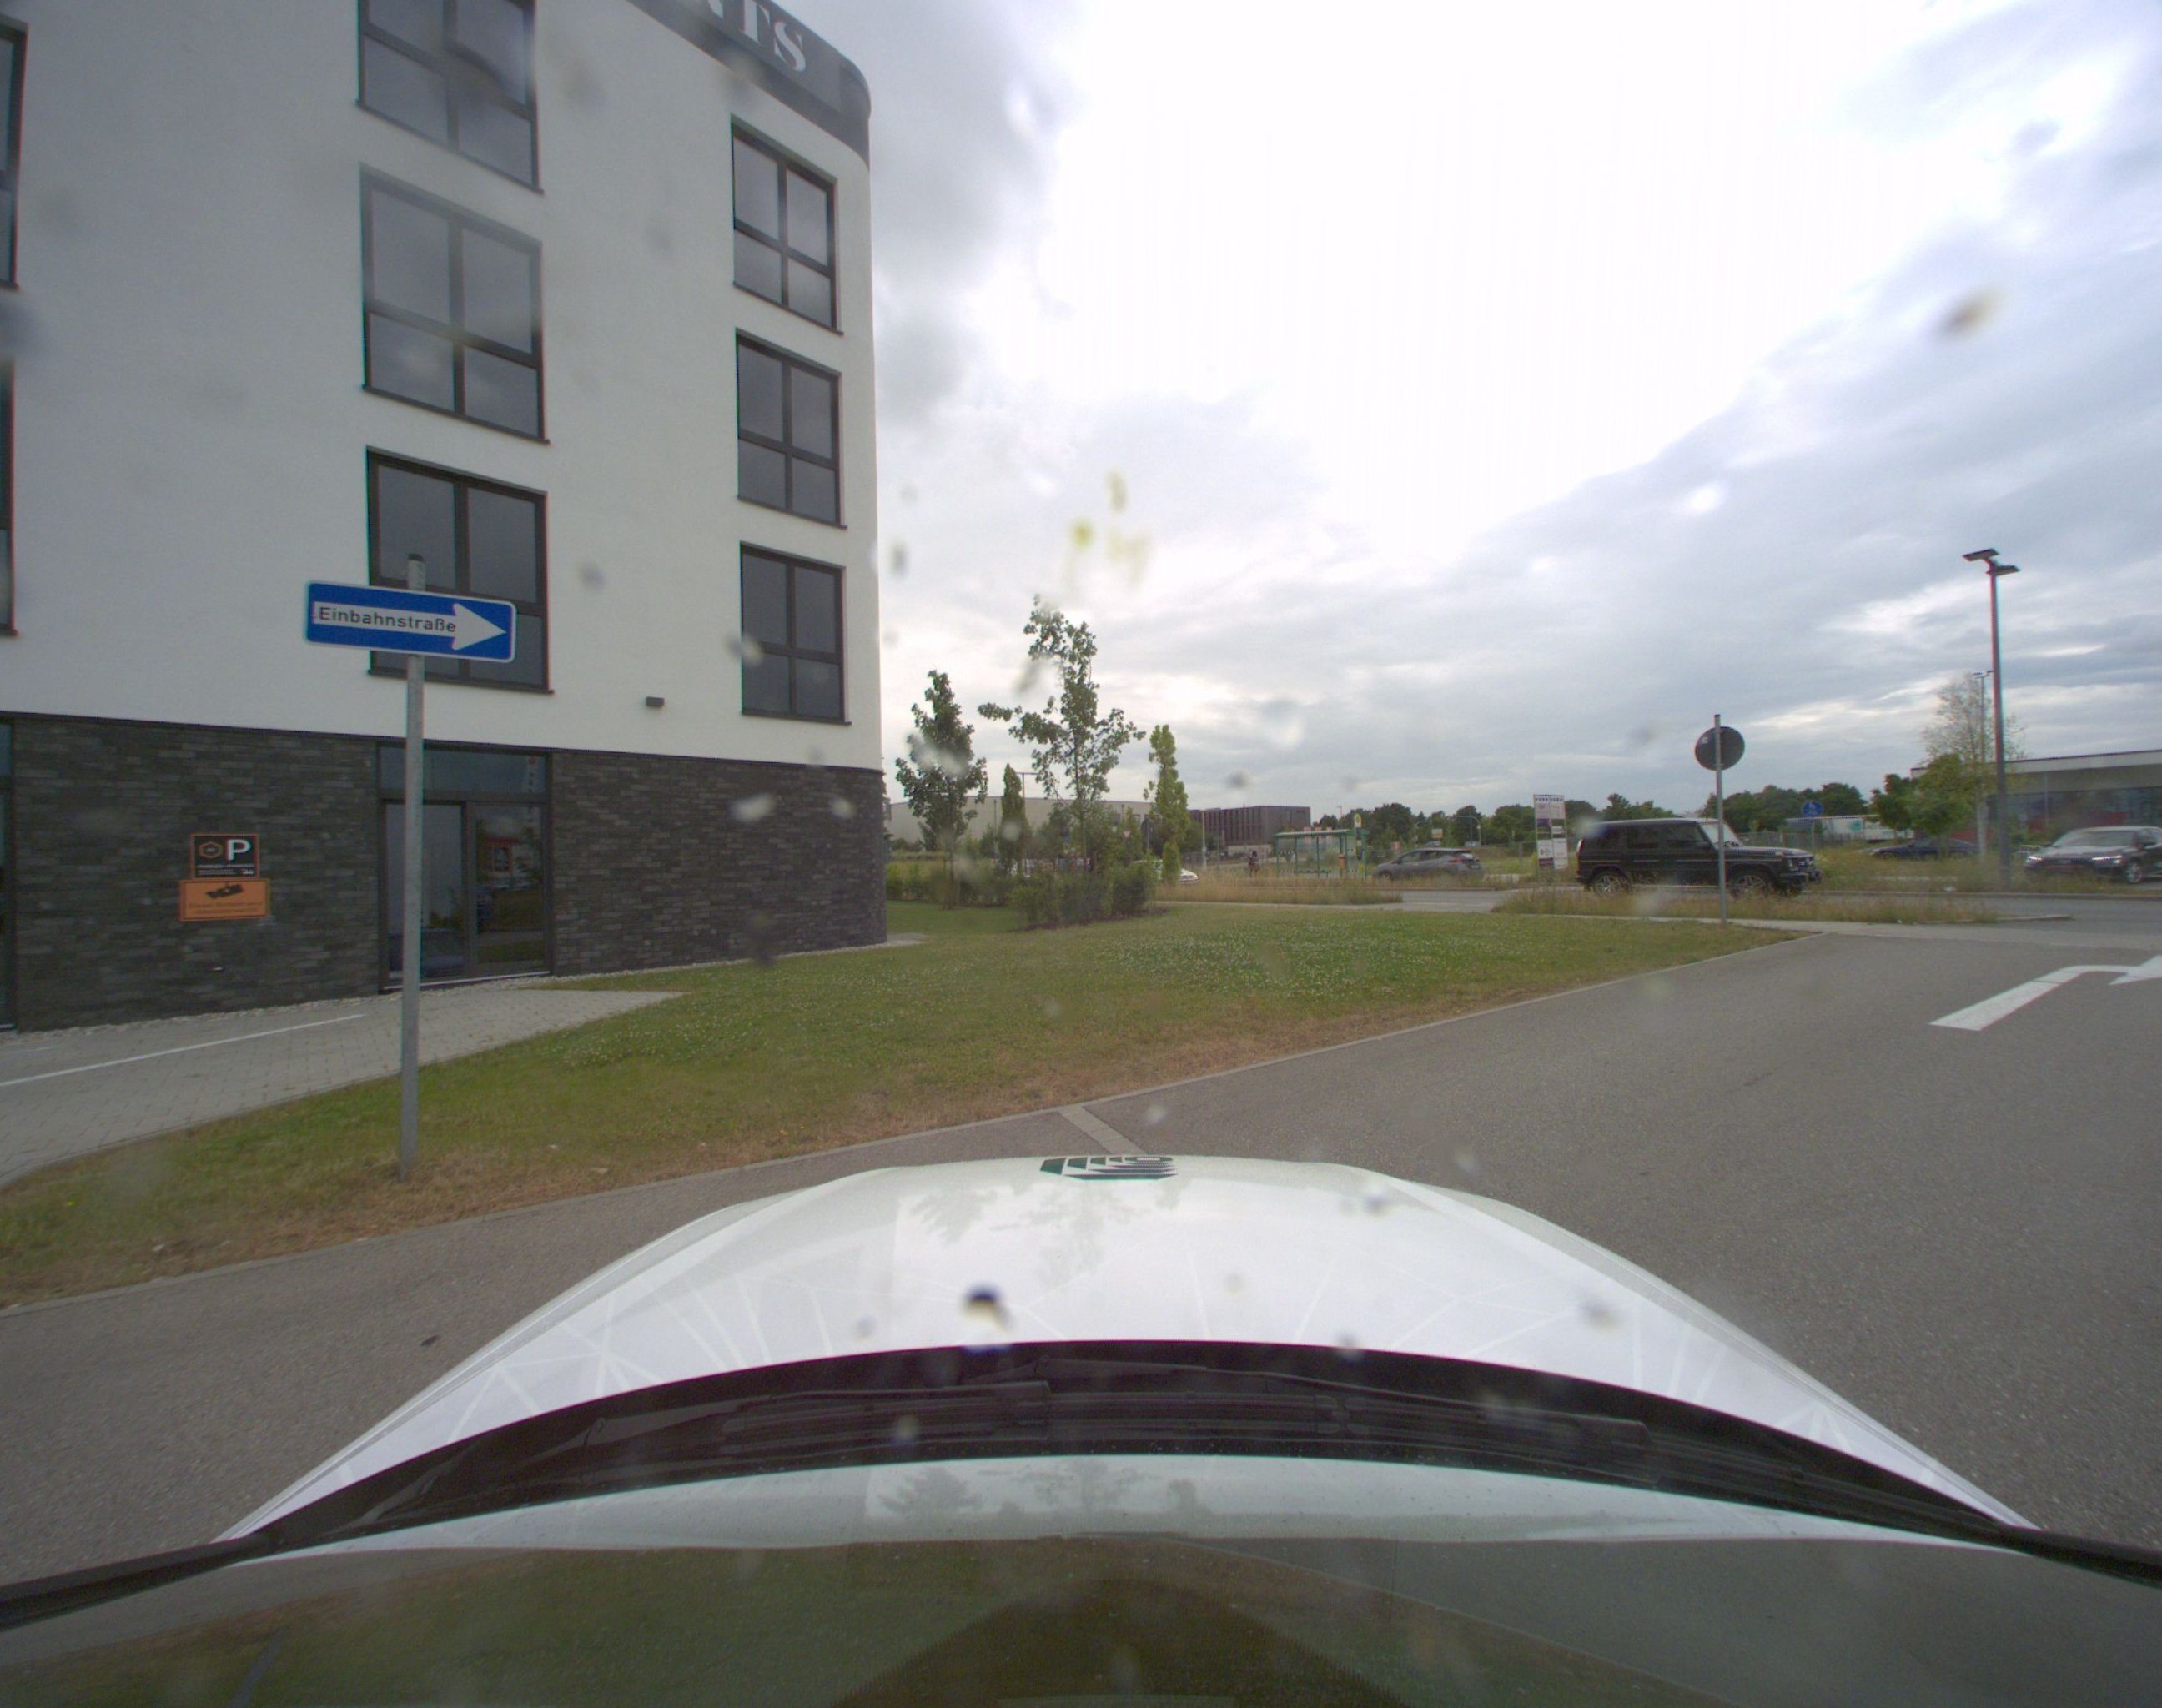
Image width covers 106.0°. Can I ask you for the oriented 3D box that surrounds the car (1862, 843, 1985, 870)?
[{"bbox_3d":[51.071,0.165,49.461,2.009,1.557,4.969,-1,0,-36],"label":"car"}]

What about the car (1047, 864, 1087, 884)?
[{"bbox_3d":[-1.059,1.408,58.568,1.718,1.343,3.938,-1,0,-19],"label":"car"}]

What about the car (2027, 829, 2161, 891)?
[{"bbox_3d":[26.999,0.104,21.303,4.327,1.466,1.783,-2,0,-24],"label":"car"}]

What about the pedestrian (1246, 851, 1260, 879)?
[{"bbox_3d":[10.552,0.660,49.993,0.738,1.722,0.651,-1,0,1],"label":"pedestrian"}]

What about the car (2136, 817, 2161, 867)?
[{"bbox_3d":[33.315,-0.386,24.135,4.622,1.445,1.769,-1,-1,-29],"label":"car"}]

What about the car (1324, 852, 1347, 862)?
[{"bbox_3d":[39.019,0.477,124.997,3.661,1.486,1.661,-2,0,-40],"label":"car"}]

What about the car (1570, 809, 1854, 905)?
[{"bbox_3d":[14.324,0.034,18.821,2.007,1.923,4.799,-2,1,-32],"label":"car"}]

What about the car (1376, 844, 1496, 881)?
[{"bbox_3d":[13.943,0.318,32.169,1.725,1.343,4.021,-1,0,-35],"label":"car"}]

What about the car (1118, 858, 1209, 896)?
[{"bbox_3d":[3.444,0.969,34.670,1.809,1.461,3.774,-1,-1,-35],"label":"car"}]
